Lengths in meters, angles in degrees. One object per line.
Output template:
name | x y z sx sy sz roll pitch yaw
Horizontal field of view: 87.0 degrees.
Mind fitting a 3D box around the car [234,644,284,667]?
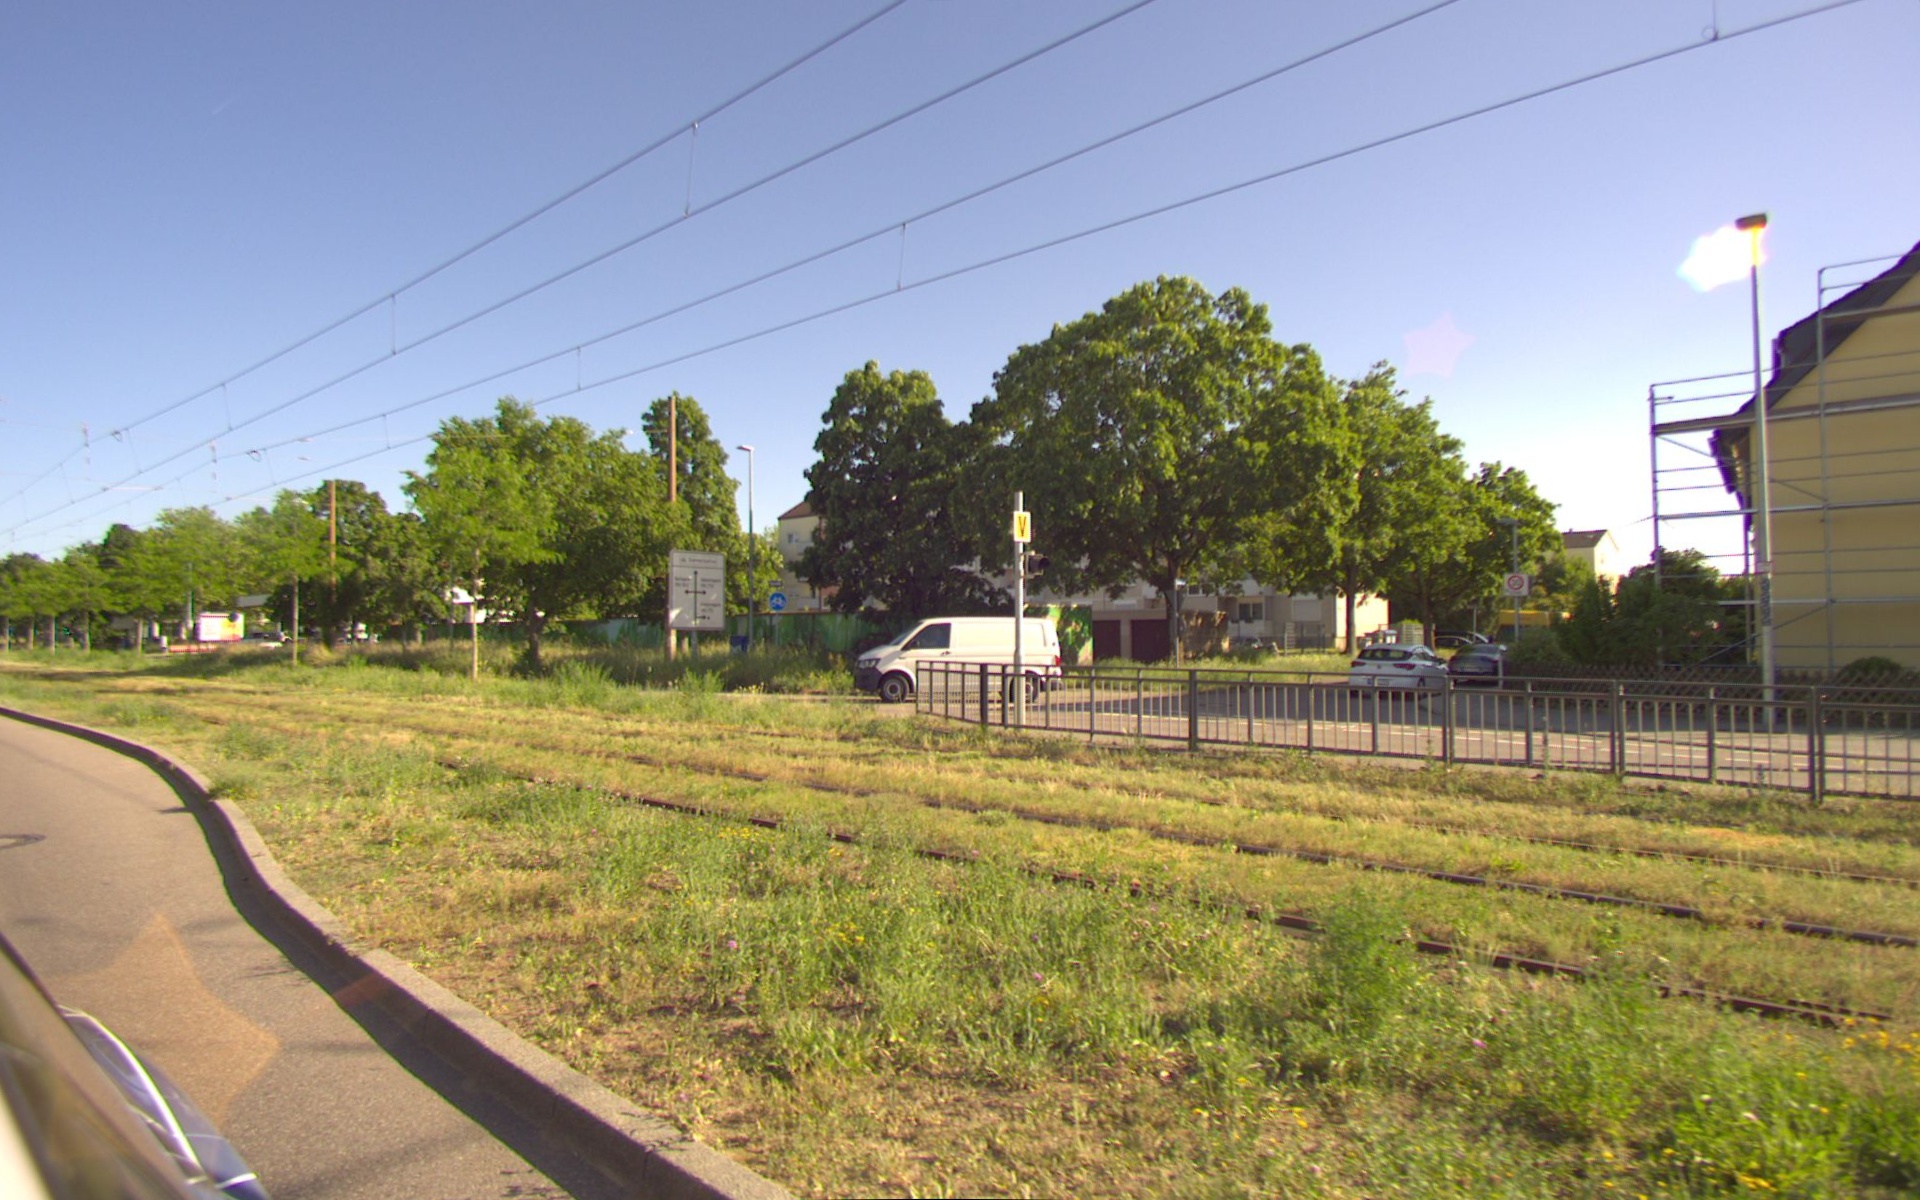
car | -62.449 4.941 90.298 1.867 1.925 4.820 -1 -3 -11

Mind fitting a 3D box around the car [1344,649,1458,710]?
car | 11.896 2.075 27.168 1.851 1.414 3.948 0 -1 39

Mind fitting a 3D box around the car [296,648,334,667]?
car | -57.267 5.105 89.880 1.992 1.519 4.905 1 -2 -23

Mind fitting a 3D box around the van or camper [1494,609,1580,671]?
van or camper | 24.398 1.614 42.606 2.109 2.367 7.163 -3 -2 38

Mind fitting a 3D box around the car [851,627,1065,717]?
car | -0.098 1.613 23.309 4.625 1.929 1.908 0 -3 -11

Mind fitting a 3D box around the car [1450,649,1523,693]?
car | 18.161 2.398 34.851 1.558 1.356 3.693 0 -2 39

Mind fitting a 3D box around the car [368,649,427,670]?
car | -45.132 4.743 81.237 1.703 1.521 3.779 -3 -2 40

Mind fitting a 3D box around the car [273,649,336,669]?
car | -50.154 4.492 77.464 1.638 1.523 3.667 -3 -4 36
